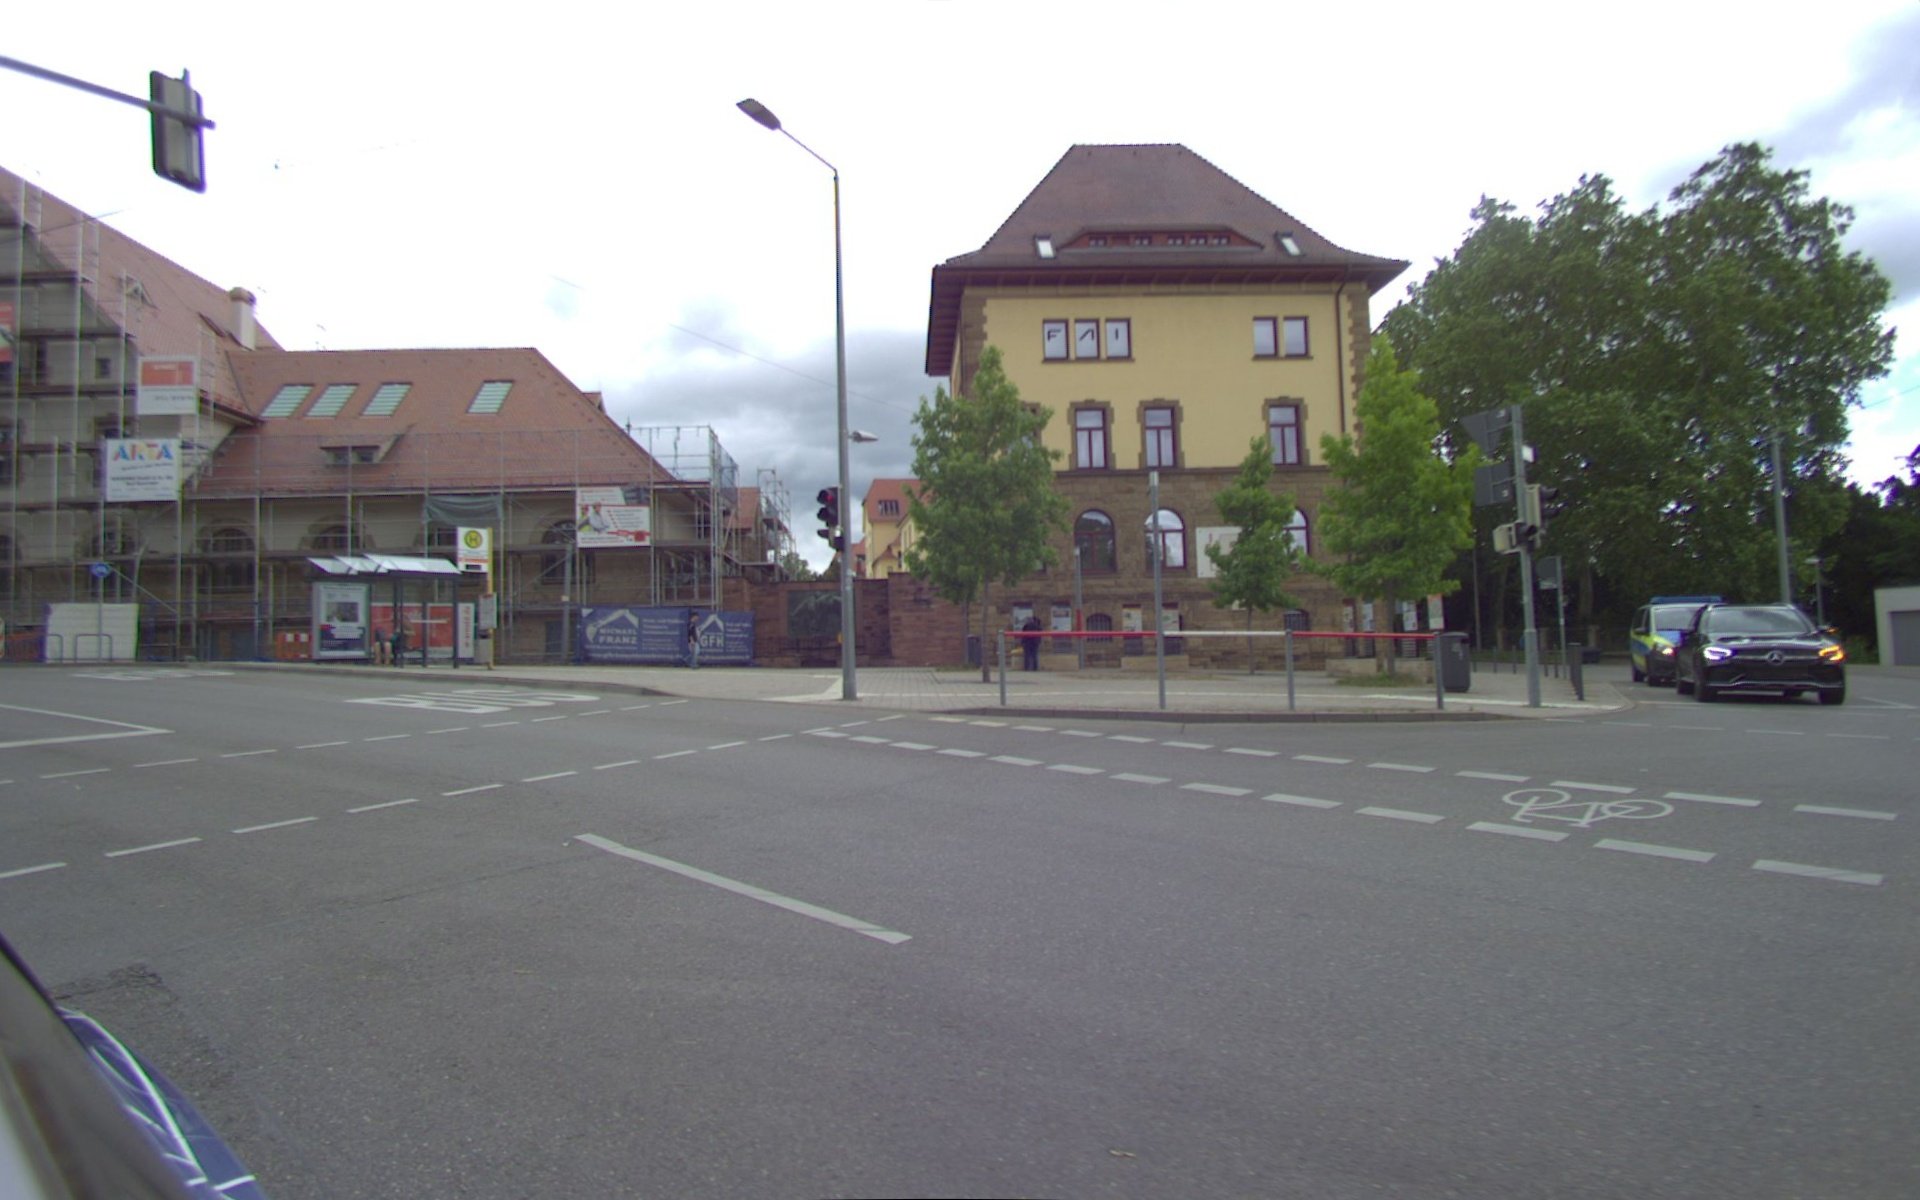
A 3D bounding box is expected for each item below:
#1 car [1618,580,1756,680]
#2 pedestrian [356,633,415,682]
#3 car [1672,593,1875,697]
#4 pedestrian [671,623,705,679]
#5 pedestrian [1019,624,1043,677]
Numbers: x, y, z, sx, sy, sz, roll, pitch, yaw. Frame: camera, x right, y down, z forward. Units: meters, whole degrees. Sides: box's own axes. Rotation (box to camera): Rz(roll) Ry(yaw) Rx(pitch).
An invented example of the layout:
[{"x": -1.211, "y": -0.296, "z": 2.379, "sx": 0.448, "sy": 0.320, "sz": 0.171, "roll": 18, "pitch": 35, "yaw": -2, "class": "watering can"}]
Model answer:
[{"x": 16.504, "y": 0.679, "z": 23.224, "sx": 1.992, "sy": 2.029, "sz": 5.040, "roll": 0, "pitch": -2, "yaw": 29, "class": "car"}, {"x": -14.693, "y": 1.467, "z": 25.891, "sx": 0.900, "sy": 1.201, "sz": 0.927, "roll": 0, "pitch": -4, "yaw": 26, "class": "pedestrian"}, {"x": 13.532, "y": 0.717, "z": 17.129, "sx": 1.992, "sy": 1.524, "sz": 4.230, "roll": 0, "pitch": -2, "yaw": 29, "class": "car"}, {"x": -8.536, "y": 1.578, "z": 31.818, "sx": 0.787, "sy": 1.733, "sz": 0.925, "roll": 0, "pitch": -1, "yaw": 0, "class": "pedestrian"}, {"x": 2.126, "y": 1.509, "z": 30.442, "sx": 0.646, "sy": 1.589, "sz": 0.537, "roll": 0, "pitch": -2, "yaw": 13, "class": "pedestrian"}]
